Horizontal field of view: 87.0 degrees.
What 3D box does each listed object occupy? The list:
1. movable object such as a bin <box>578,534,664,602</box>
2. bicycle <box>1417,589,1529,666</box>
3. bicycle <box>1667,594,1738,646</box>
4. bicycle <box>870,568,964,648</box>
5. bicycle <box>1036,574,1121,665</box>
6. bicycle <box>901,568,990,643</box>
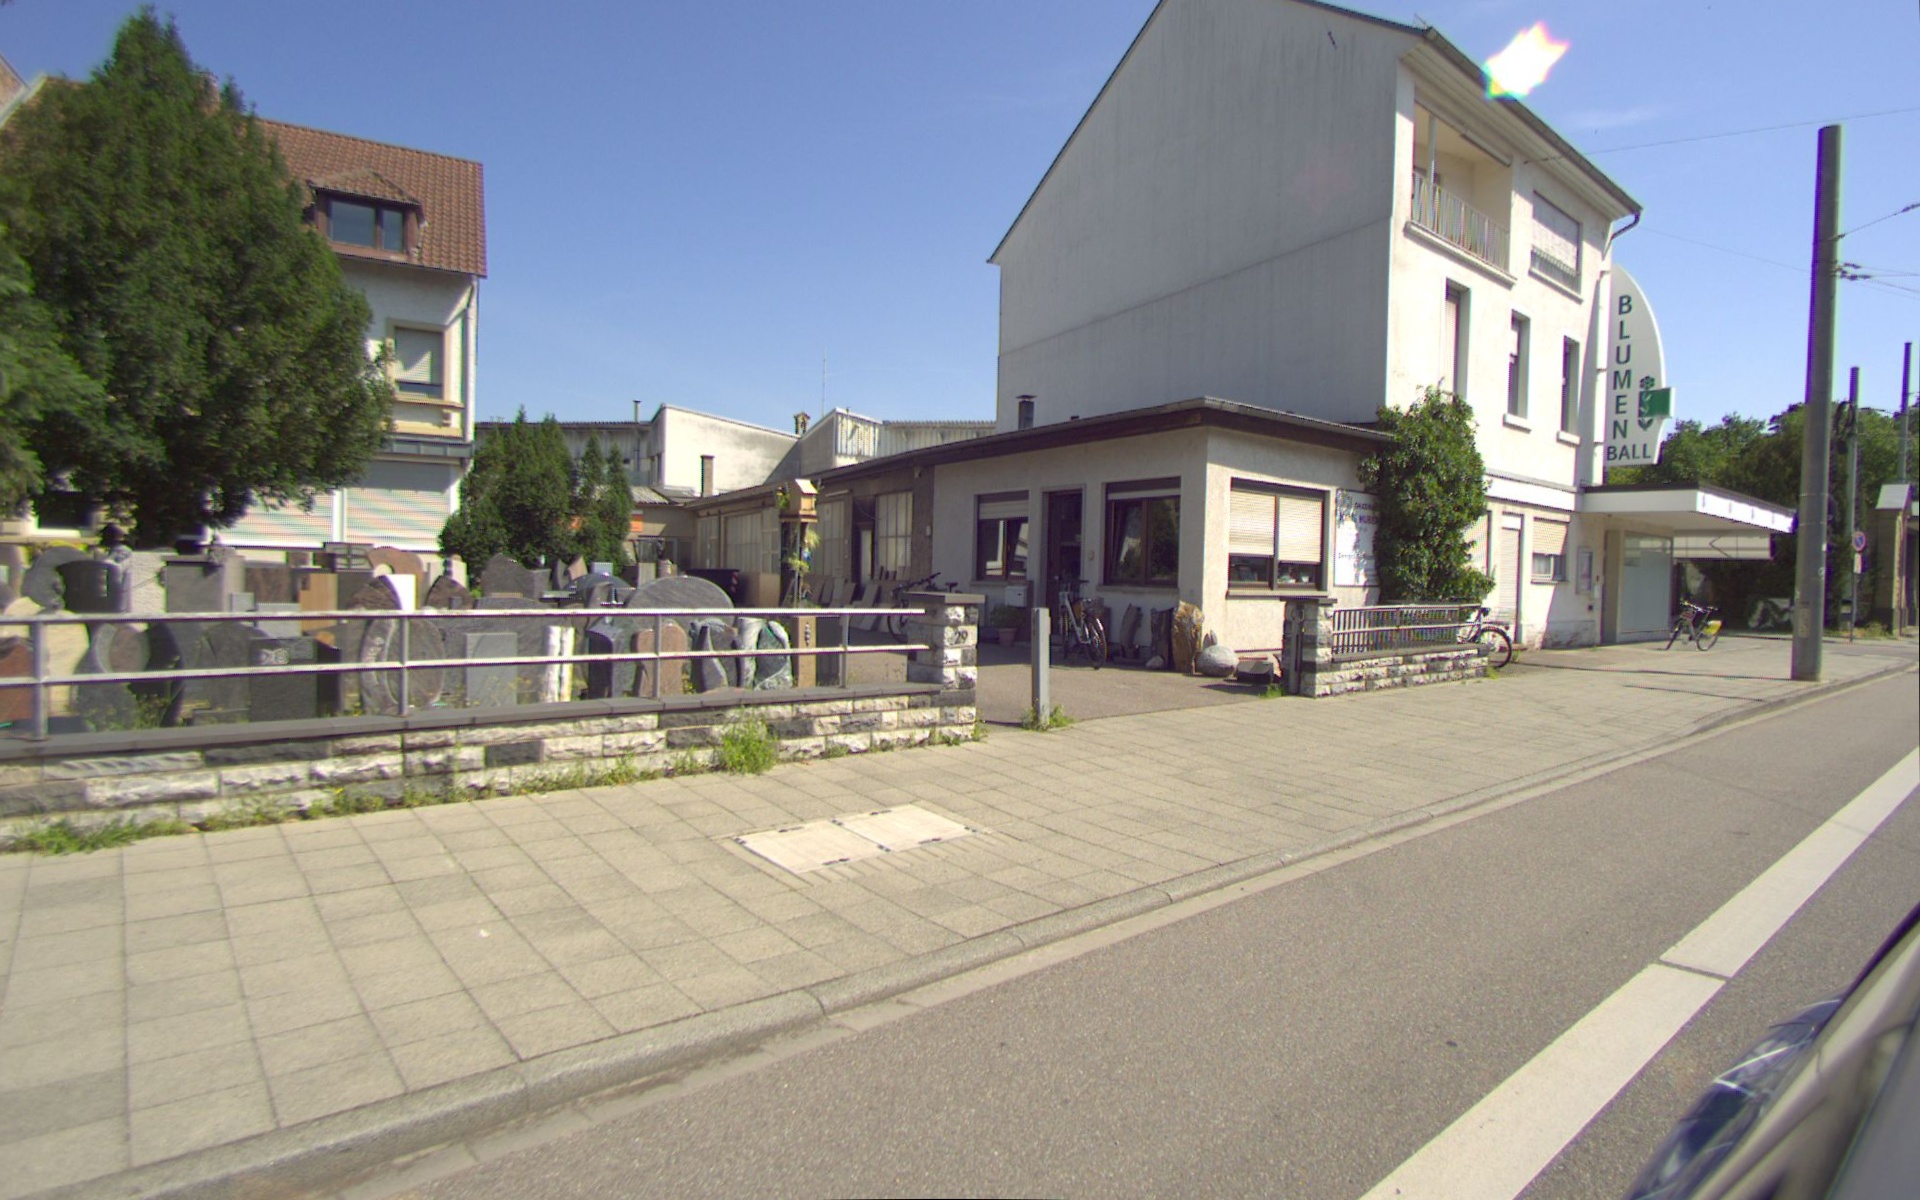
[{"bbox_3d":[-10.912,-1.038,32.669,1.461,2.103,2.273,2,2,24],"label":"movable object such as a bin"},{"bbox_3d":[8.274,0.424,16.379,0.390,1.069,1.531,0,5,-39],"label":"bicycle"},{"bbox_3d":[16.977,0.456,23.128,1.655,1.148,0.513,1,2,-24],"label":"bicycle"},{"bbox_3d":[-0.691,0.101,15.724,0.502,1.124,1.798,1,2,-36],"label":"bicycle"},{"bbox_3d":[1.592,0.231,13.883,0.503,1.124,1.695,2,2,-16],"label":"bicycle"},{"bbox_3d":[-0.262,0.070,16.828,0.503,1.124,1.690,1,2,-39],"label":"bicycle"}]
